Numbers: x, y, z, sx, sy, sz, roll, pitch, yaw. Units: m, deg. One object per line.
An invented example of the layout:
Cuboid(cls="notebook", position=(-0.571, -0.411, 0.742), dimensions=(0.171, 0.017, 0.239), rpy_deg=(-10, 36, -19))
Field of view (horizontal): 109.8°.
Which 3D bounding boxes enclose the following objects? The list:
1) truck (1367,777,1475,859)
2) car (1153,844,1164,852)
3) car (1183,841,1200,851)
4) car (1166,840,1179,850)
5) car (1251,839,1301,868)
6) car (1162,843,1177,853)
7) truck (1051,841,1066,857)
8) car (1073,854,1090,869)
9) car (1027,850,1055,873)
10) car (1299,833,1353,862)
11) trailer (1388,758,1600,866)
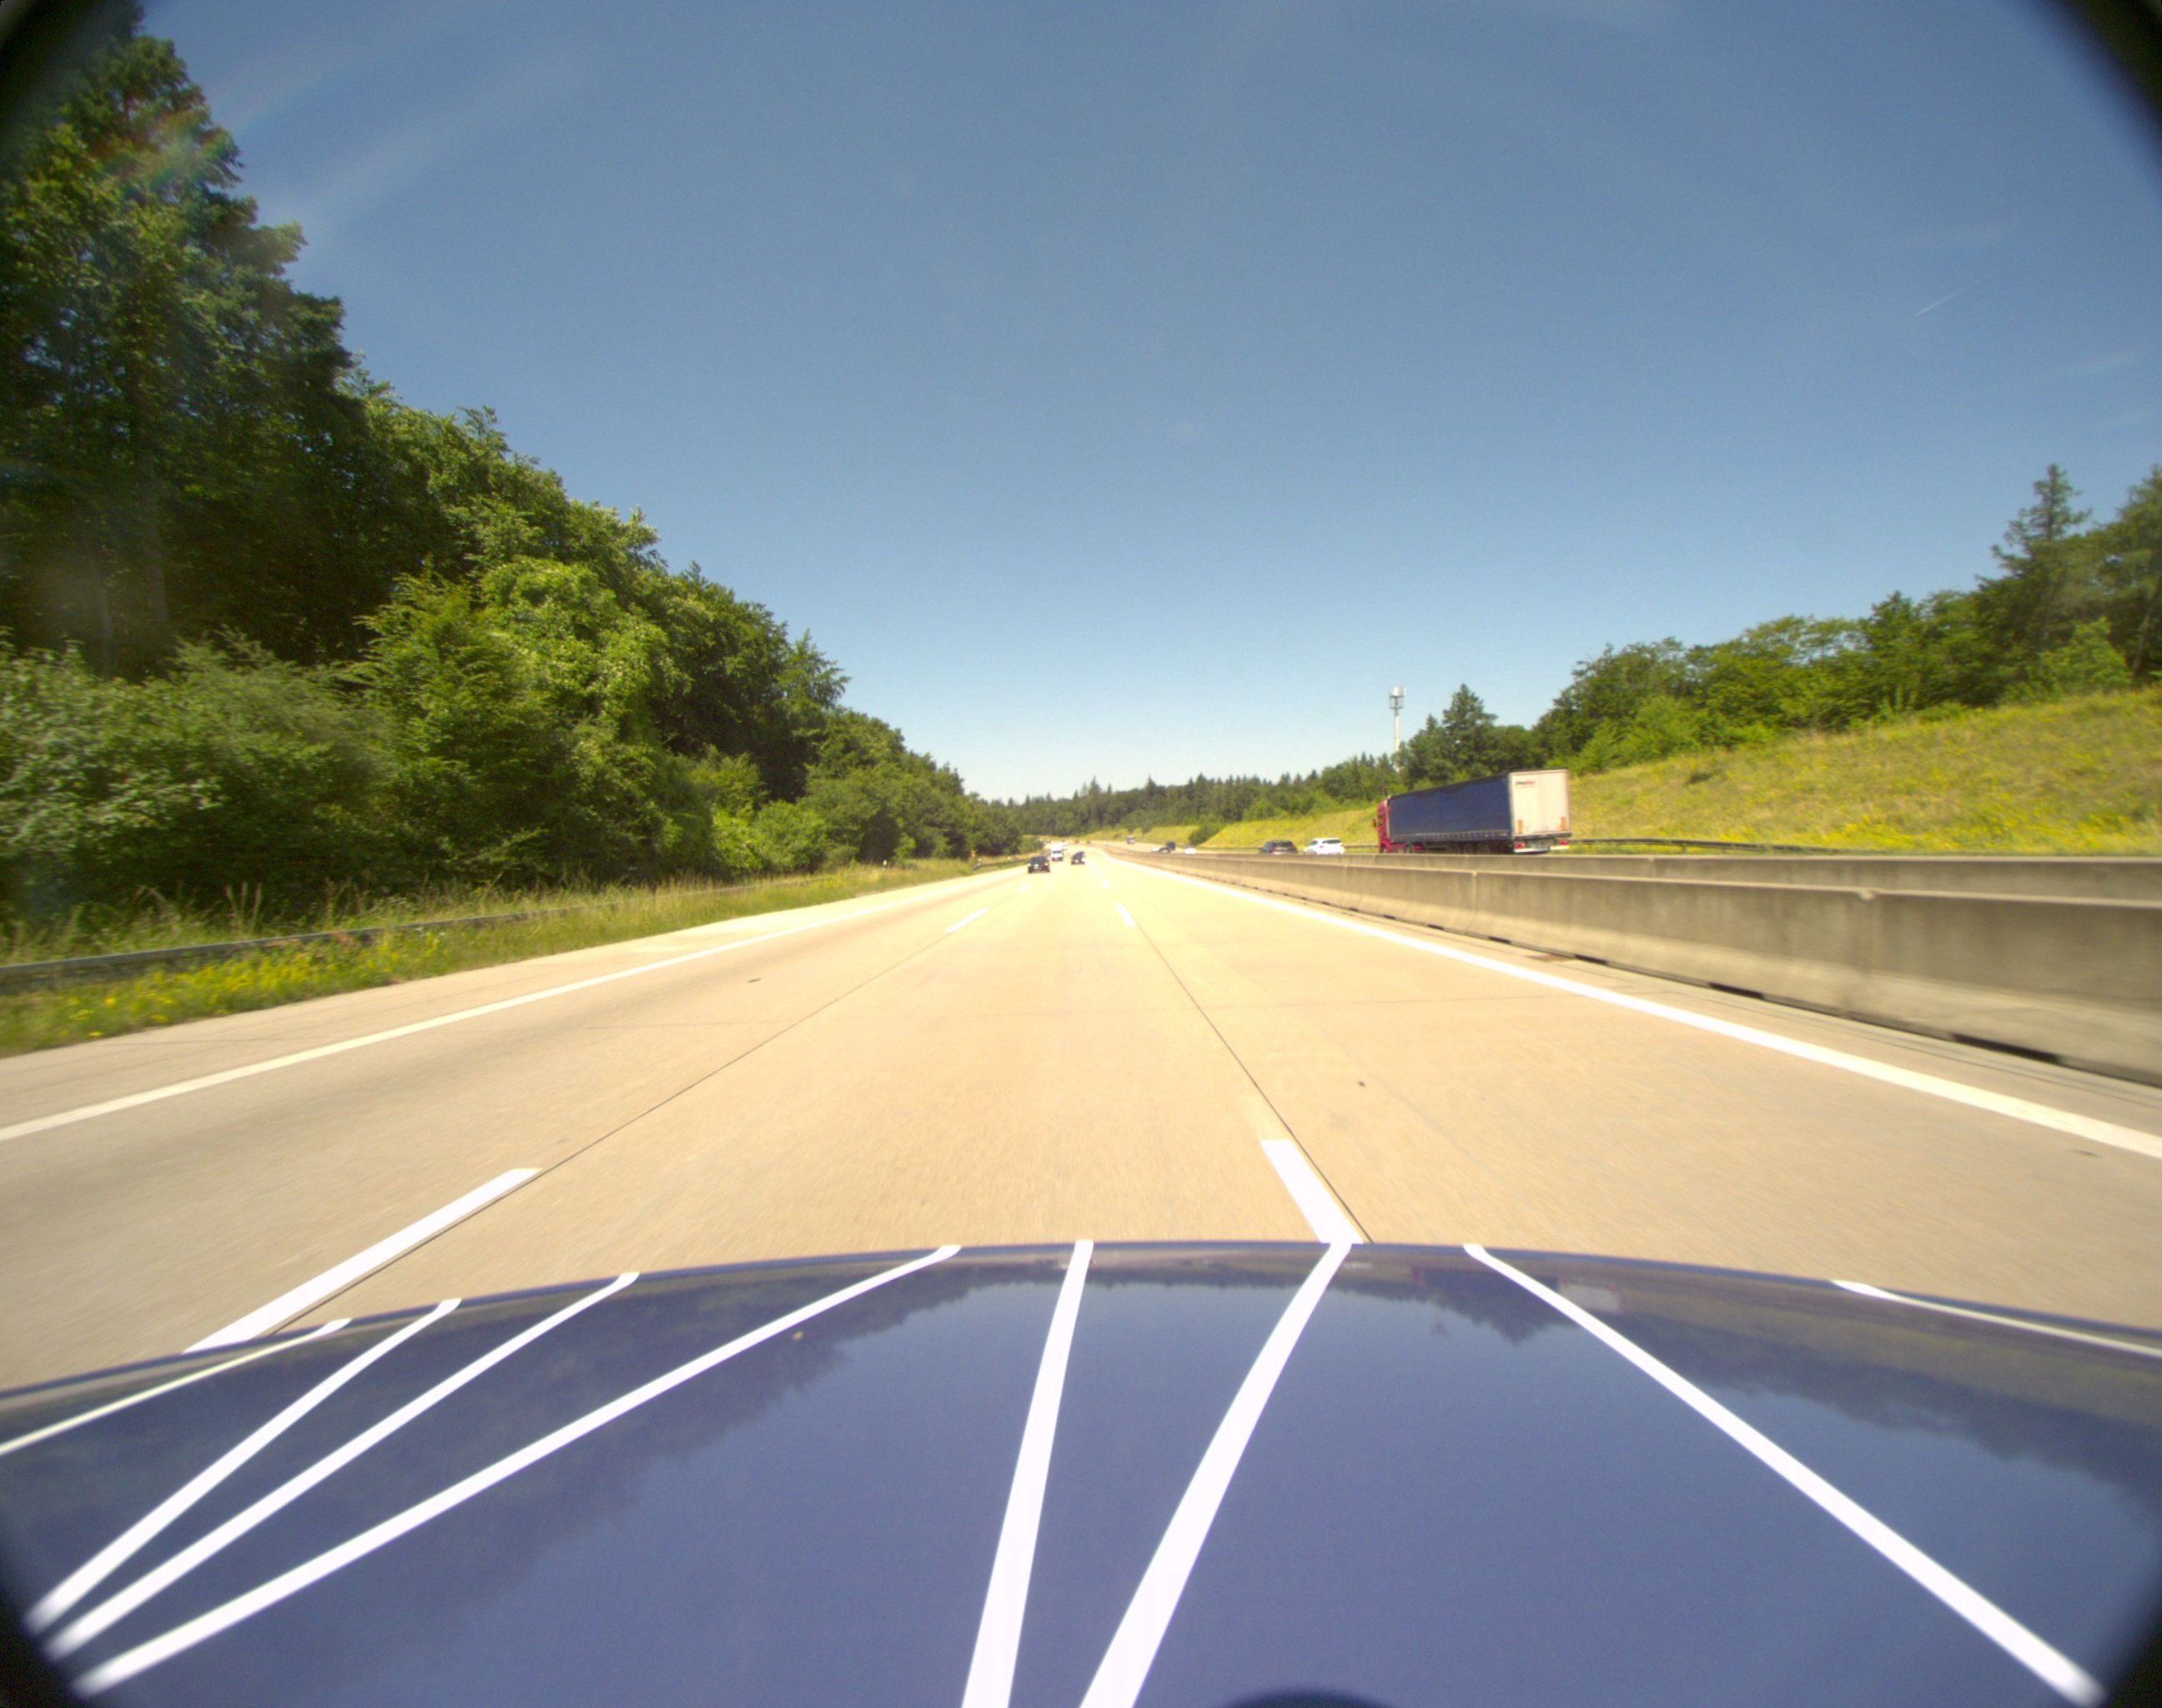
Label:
Cuboid(cls="truck", position=(20.539, -2.092, 46.377), dimensions=(3.395, 4.406, 6.799), rpy_deg=(-3, 1, 1))
Cuboid(cls="car", position=(19.000, -1.523, 186.586), dimensions=(2.013, 1.797, 4.853), rpy_deg=(-3, 1, 1))
Cuboid(cls="car", position=(17.725, -1.285, 122.187), dimensions=(1.998, 1.555, 3.999), rpy_deg=(-3, 1, 0))
Cuboid(cls="car", position=(22.586, -2.211, 188.314), dimensions=(2.487, 2.197, 6.458), rpy_deg=(-3, 1, 1))
Cuboid(cls="car", position=(12.286, -0.058, 48.087), dimensions=(1.998, 1.682, 4.371), rpy_deg=(-3, 1, 1))
Cuboid(cls="car", position=(14.911, -1.035, 128.215), dimensions=(1.998, 1.529, 4.195), rpy_deg=(-3, 1, 0))
Cuboid(cls="truck", position=(-4.321, -0.999, 147.696), dimensions=(2.483, 2.780, 5.914), rpy_deg=(-4, 1, 2))
Cuboid(cls="car", position=(0.055, 1.003, 100.207), dimensions=(1.998, 1.694, 4.399), rpy_deg=(-4, 1, 2))
Cuboid(cls="car", position=(-3.410, 0.588, 65.273), dimensions=(1.931, 1.694, 4.399), rpy_deg=(-4, 1, 2))
Cuboid(cls="car", position=(16.210, -0.438, 50.596), dimensions=(1.998, 1.682, 4.815), rpy_deg=(-3, 1, 1))
Cuboid(cls="trailer", position=(20.471, -1.949, 39.447), dimensions=(3.395, 4.406, 13.921), rpy_deg=(-3, 1, 1))
